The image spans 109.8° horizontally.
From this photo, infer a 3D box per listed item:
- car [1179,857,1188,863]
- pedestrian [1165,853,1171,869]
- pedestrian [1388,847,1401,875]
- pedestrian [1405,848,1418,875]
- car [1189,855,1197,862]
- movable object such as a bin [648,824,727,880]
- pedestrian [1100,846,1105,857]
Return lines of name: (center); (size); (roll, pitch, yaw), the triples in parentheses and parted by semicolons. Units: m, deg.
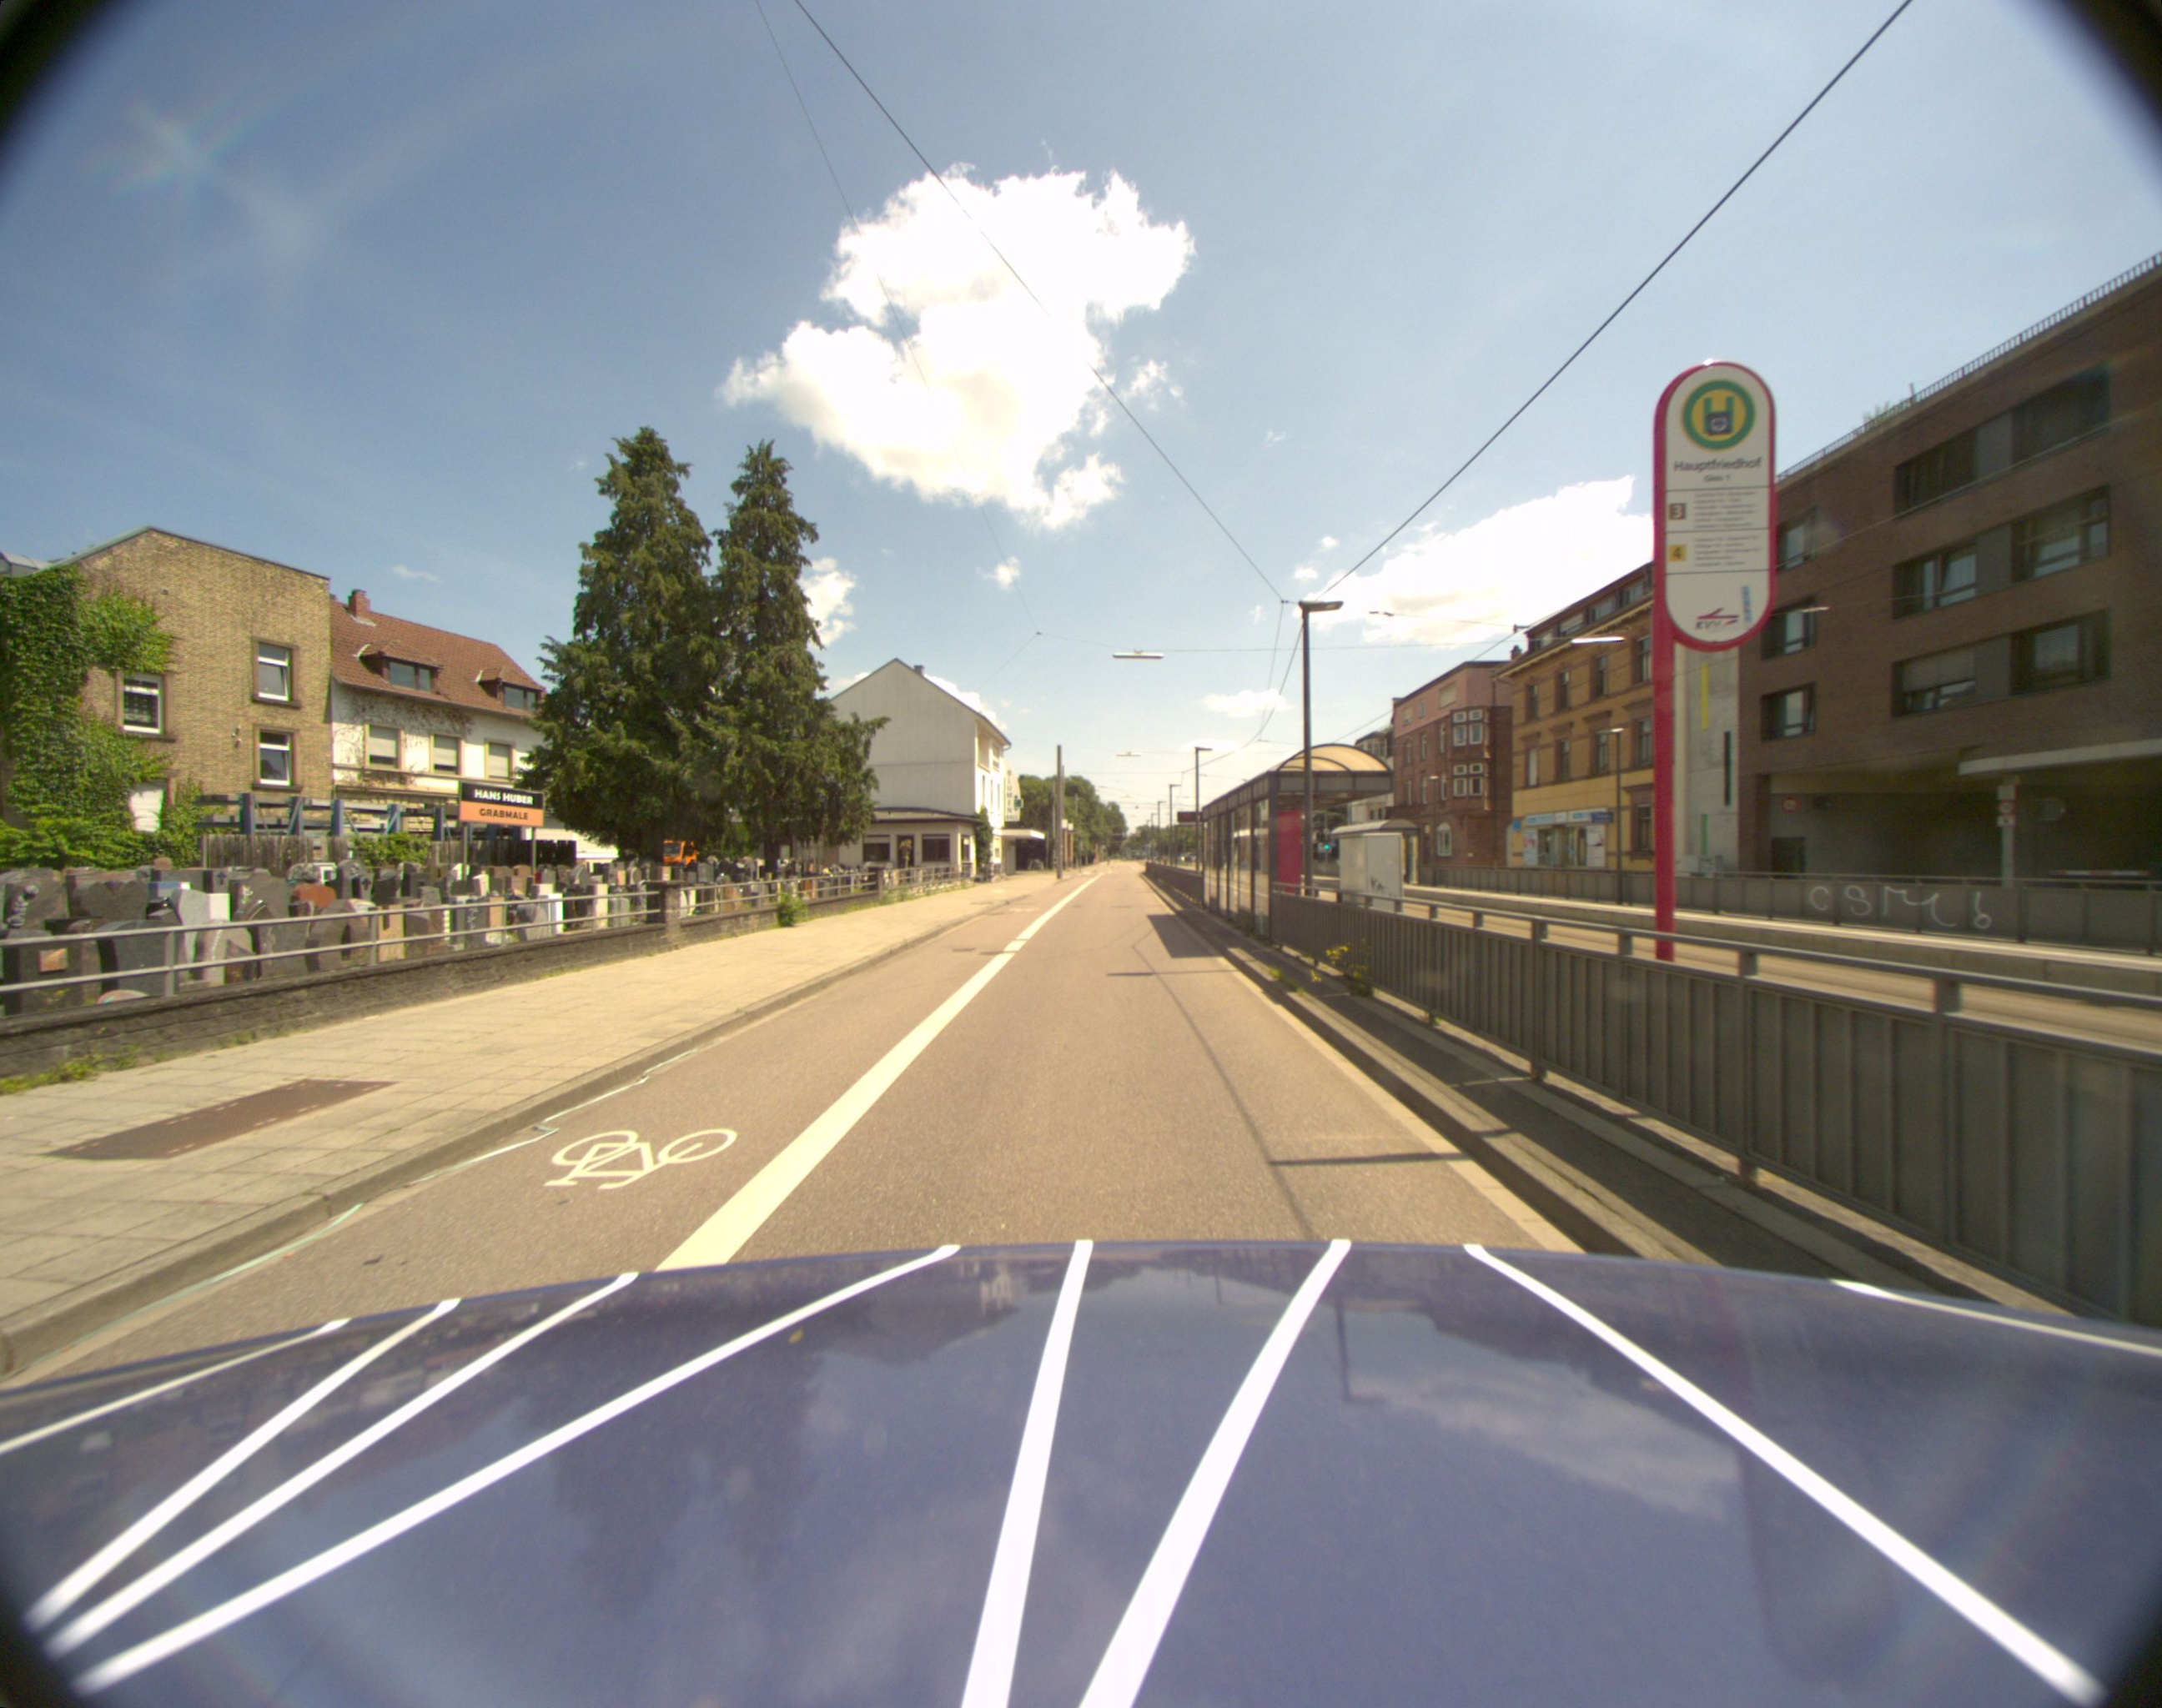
car: (27.712, 1.668, 206.090); (1.998, 1.463, 4.402); (0, 0, 3)
pedestrian: (8.743, 0.711, 76.077); (0.578, 1.547, 0.786); (2, 1, 7)
pedestrian: (23.159, 0.502, 56.193); (0.678, 2.002, 0.685); (-1, 1, 1)
pedestrian: (24.379, 0.529, 56.081); (0.619, 2.002, 0.810); (0, 1, 1)
car: (26.546, 0.996, 180.268); (1.727, 1.673, 4.281); (1, 0, 4)
movable object such as a bin: (-19.746, -0.114, 38.279); (1.743, 2.604, 3.810); (2, 1, 5)
pedestrian: (3.821, -0.416, 134.336); (0.767, 1.841, 0.718); (0, 1, 0)
